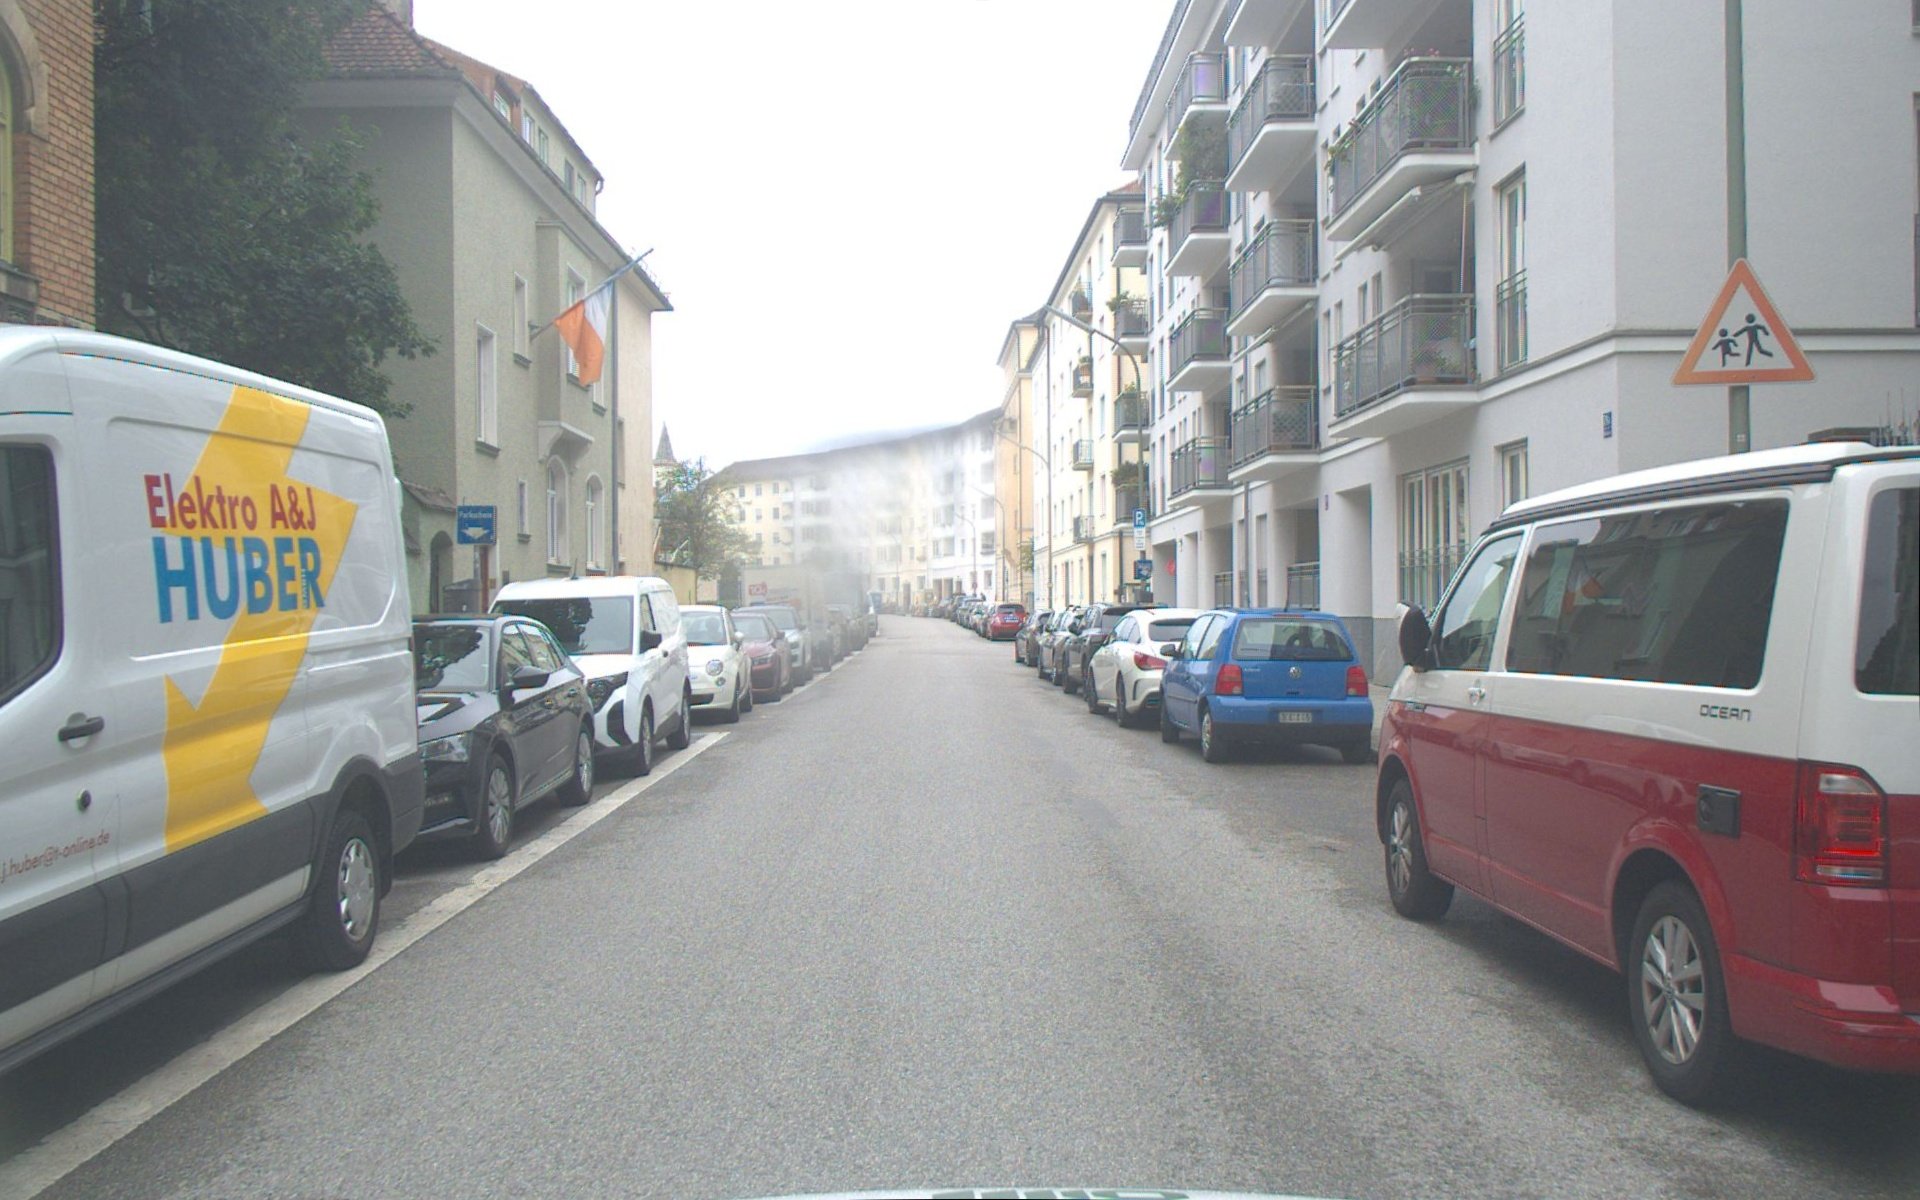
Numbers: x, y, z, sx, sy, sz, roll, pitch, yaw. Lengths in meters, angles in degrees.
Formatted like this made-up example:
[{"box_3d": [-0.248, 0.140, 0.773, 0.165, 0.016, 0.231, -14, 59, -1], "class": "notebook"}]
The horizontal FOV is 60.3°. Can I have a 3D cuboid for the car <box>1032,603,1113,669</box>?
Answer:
[{"box_3d": [2.608, 0.825, 39.237, 1.615, 1.459, 4.283, -1, 0, 0], "class": "car"}]

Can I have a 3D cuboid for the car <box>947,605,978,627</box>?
[{"box_3d": [0.161, 1.048, 110.624, 1.748, 1.409, 3.996, 0, 0, -5], "class": "car"}]

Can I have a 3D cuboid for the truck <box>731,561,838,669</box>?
[{"box_3d": [-4.112, 0.346, 39.586, 1.953, 2.359, 5.409, -1, 0, 0], "class": "truck"}]

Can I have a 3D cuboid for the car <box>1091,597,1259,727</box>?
[{"box_3d": [2.639, 0.729, 21.085, 1.615, 1.459, 4.000, -1, 0, 0], "class": "car"}]

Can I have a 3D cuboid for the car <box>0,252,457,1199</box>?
[{"box_3d": [-3.465, 0.345, 5.293, 2.093, 2.390, 5.369, -1, 0, -1], "class": "car"}]

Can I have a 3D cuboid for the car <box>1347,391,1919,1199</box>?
[{"box_3d": [3.078, 0.493, 6.456, 1.832, 2.002, 4.815, -1, 0, -2], "class": "car"}]

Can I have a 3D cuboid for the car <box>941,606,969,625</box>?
[{"box_3d": [-0.411, 1.130, 121.666, 1.748, 1.409, 3.996, 0, 0, -5], "class": "car"}]

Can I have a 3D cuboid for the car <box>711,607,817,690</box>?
[{"box_3d": [-3.810, 0.916, 32.665, 1.759, 1.494, 3.865, -1, 0, -3], "class": "car"}]

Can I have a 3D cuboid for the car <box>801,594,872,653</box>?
[{"box_3d": [-3.961, 0.757, 53.747, 1.953, 1.793, 4.381, -1, 0, 0], "class": "car"}]

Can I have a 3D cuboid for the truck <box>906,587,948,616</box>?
[{"box_3d": [-2.726, 0.136, 135.370, 2.189, 2.340, 5.269, 0, 0, -15], "class": "truck"}]

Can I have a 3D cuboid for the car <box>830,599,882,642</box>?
[{"box_3d": [-4.478, 0.884, 71.853, 1.953, 1.793, 4.381, -1, 0, 0], "class": "car"}]

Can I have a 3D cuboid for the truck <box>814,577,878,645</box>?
[{"box_3d": [-4.125, 0.405, 60.652, 1.953, 2.359, 5.409, -1, 0, 0], "class": "truck"}]

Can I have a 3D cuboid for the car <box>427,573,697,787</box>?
[{"box_3d": [-3.629, 0.677, 15.779, 1.784, 1.741, 3.997, -1, 0, -3], "class": "car"}]

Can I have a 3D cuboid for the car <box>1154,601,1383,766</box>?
[{"box_3d": [3.007, 0.770, 16.800, 1.575, 1.459, 3.618, -1, 0, -1], "class": "car"}]

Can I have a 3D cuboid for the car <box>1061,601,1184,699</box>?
[{"box_3d": [2.596, 0.769, 27.223, 1.615, 1.459, 4.000, -1, 0, 0], "class": "car"}]

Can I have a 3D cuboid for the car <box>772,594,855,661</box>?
[{"box_3d": [-4.104, 0.762, 47.075, 1.953, 1.793, 4.381, -1, 0, 0], "class": "car"}]

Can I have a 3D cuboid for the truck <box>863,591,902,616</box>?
[{"box_3d": [-7.351, 0.313, 156.577, 2.579, 2.340, 5.417, 0, 0, -16], "class": "truck"}]

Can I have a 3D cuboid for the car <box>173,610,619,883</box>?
[{"box_3d": [-3.523, 0.819, 11.136, 1.709, 1.470, 3.998, -1, 0, -2], "class": "car"}]

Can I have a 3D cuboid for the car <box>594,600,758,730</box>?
[{"box_3d": [-3.744, 0.815, 22.385, 1.810, 1.567, 3.996, -1, 0, -5], "class": "car"}]

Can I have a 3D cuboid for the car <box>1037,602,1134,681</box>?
[{"box_3d": [2.457, 0.790, 33.144, 1.615, 1.459, 4.000, -1, 0, 0], "class": "car"}]

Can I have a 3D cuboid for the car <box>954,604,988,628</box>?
[{"box_3d": [0.636, 0.976, 102.028, 1.748, 1.409, 3.996, 0, 0, -5], "class": "car"}]

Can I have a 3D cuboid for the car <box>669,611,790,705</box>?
[{"box_3d": [-3.706, 0.892, 27.158, 1.717, 1.392, 3.996, -1, 0, -5], "class": "car"}]

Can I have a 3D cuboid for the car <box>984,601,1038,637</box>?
[{"box_3d": [2.028, 0.731, 66.830, 1.748, 1.409, 3.996, 0, 0, -5], "class": "car"}]
